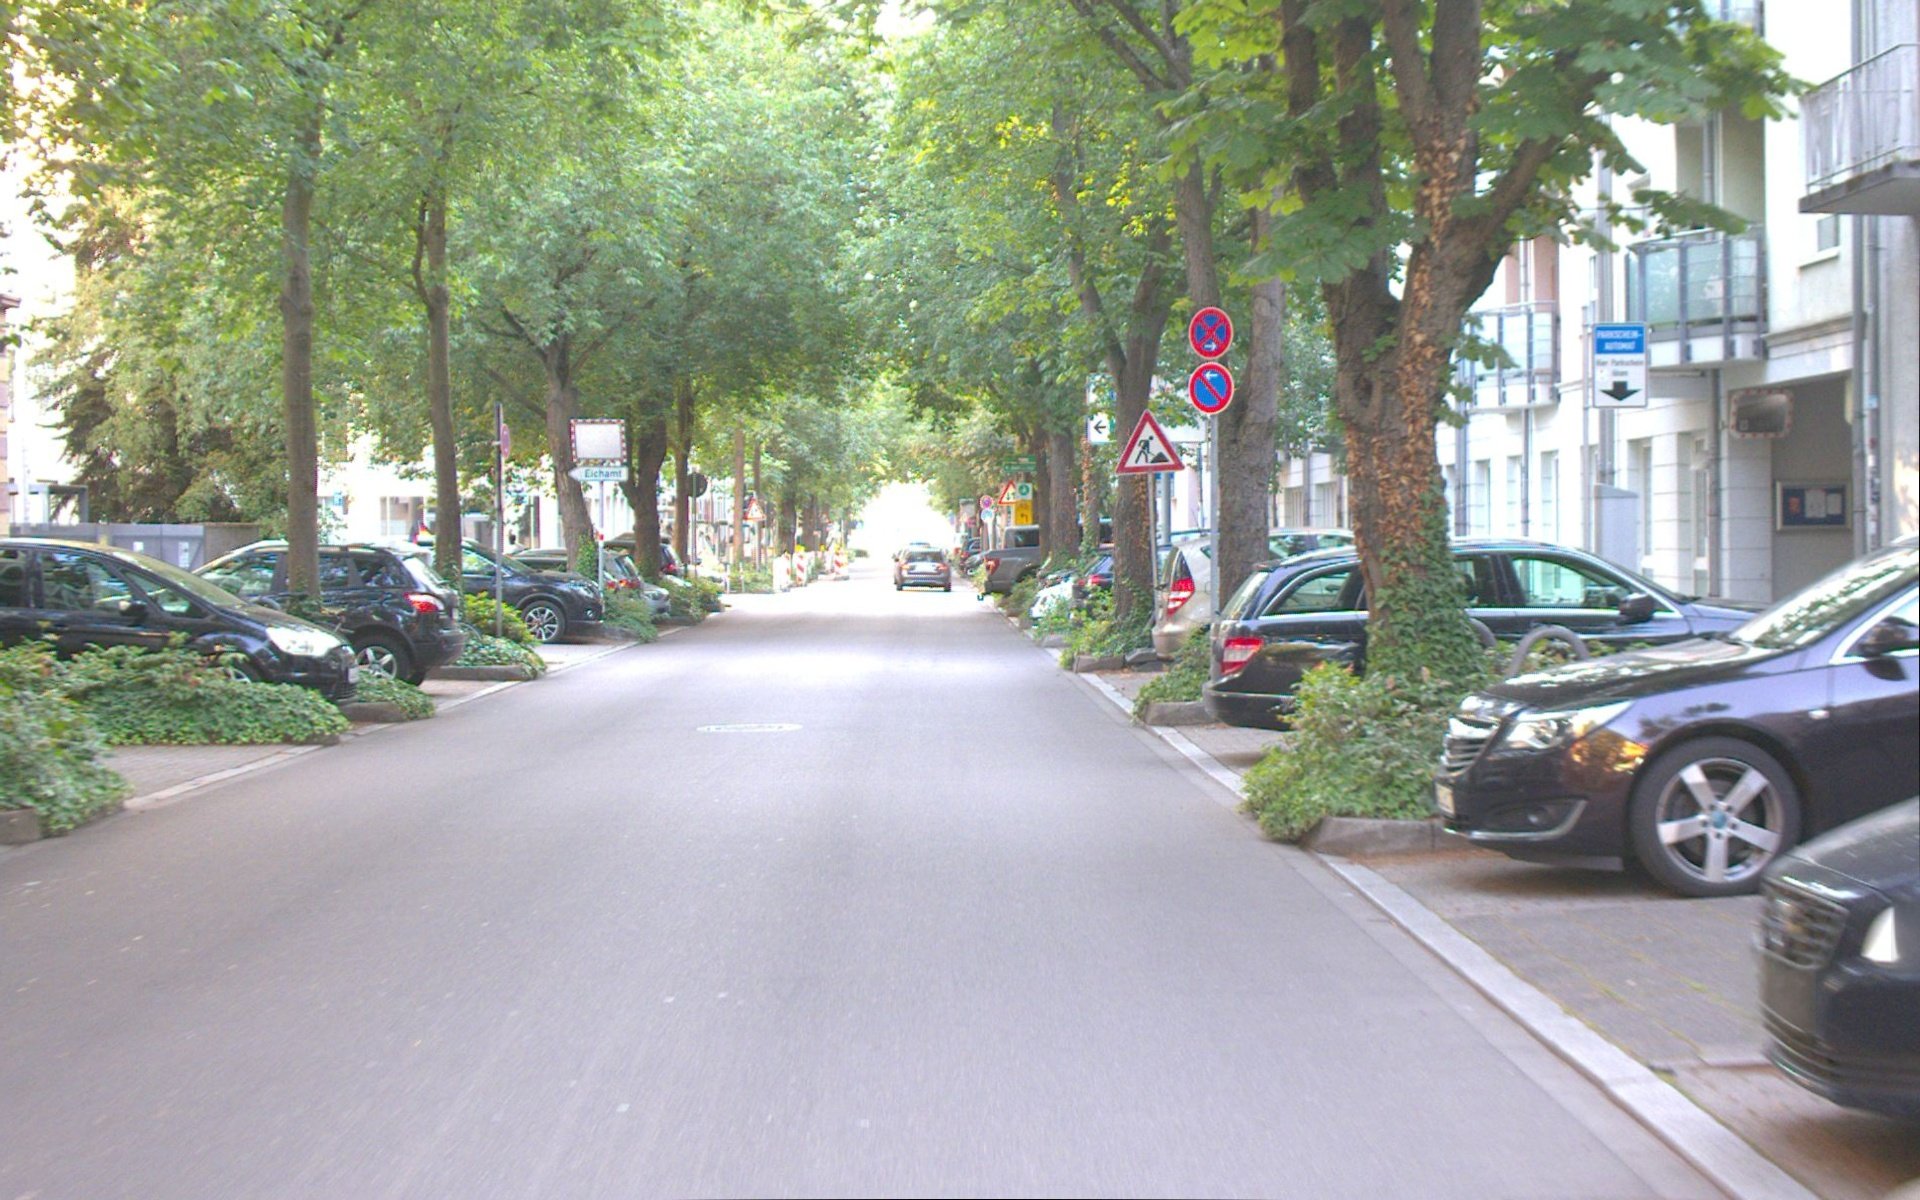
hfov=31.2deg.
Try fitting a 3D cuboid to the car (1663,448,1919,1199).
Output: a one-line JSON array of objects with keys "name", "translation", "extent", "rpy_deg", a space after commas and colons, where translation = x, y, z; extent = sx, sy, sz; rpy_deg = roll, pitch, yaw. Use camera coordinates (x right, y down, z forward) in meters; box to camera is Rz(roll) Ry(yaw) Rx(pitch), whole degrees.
[{"name": "car", "translation": [4.217, 0.501, 8.138], "extent": [4.717, 1.704, 1.950], "rpy_deg": [0, 2, 1]}]

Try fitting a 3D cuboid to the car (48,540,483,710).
[{"name": "car", "translation": [-7.361, 0.240, 36.752], "extent": [4.203, 1.630, 1.963], "rpy_deg": [-2, 1, 0]}]

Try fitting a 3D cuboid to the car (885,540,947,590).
[{"name": "car", "translation": [-1.429, -1.171, 112.892], "extent": [1.956, 1.560, 4.282], "rpy_deg": [-2, 1, 0]}]

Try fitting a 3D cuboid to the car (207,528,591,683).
[{"name": "car", "translation": [-7.193, 0.054, 44.445], "extent": [4.595, 1.801, 1.963], "rpy_deg": [-2, 1, 0]}]

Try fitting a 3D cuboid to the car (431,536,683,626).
[{"name": "car", "translation": [-8.011, -0.390, 68.670], "extent": [4.762, 1.624, 1.963], "rpy_deg": [-2, 1, 0]}]

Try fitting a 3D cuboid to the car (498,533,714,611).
[{"name": "car", "translation": [-8.133, -0.656, 79.300], "extent": [4.762, 1.624, 1.963], "rpy_deg": [-2, 1, 0]}]

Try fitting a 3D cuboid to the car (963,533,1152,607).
[{"name": "car", "translation": [2.242, -0.704, 79.868], "extent": [4.268, 1.560, 1.963], "rpy_deg": [-2, 1, 0]}]

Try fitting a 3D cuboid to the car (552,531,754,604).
[{"name": "car", "translation": [-7.500, -0.805, 84.345], "extent": [4.762, 1.624, 1.963], "rpy_deg": [-2, 1, 0]}]

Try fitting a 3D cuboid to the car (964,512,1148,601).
[{"name": "car", "translation": [2.282, -1.045, 82.457], "extent": [4.268, 1.955, 1.963], "rpy_deg": [-2, 1, 0]}]

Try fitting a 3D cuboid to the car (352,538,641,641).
[{"name": "car", "translation": [-8.078, -0.196, 60.215], "extent": [4.762, 1.624, 1.963], "rpy_deg": [-2, 1, 0]}]

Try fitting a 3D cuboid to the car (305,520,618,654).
[{"name": "car", "translation": [-8.057, -0.224, 55.893], "extent": [4.762, 1.977, 1.963], "rpy_deg": [-2, 1, 0]}]

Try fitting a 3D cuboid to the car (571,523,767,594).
[{"name": "car", "translation": [-7.358, -1.062, 87.221], "extent": [4.762, 1.624, 1.963], "rpy_deg": [-2, 1, 0]}]

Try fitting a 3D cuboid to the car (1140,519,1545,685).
[{"name": "car", "translation": [4.023, 0.006, 36.641], "extent": [4.050, 1.592, 1.825], "rpy_deg": [-2, 1, 0]}]

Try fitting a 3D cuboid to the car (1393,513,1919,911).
[{"name": "car", "translation": [4.338, 0.379, 14.621], "extent": [4.682, 1.516, 1.963], "rpy_deg": [-2, 1, 0]}]

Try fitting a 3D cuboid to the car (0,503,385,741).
[{"name": "car", "translation": [-7.388, 0.196, 29.026], "extent": [4.682, 1.848, 1.963], "rpy_deg": [-2, 1, 0]}]

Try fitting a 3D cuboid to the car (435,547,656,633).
[{"name": "car", "translation": [-7.951, -0.200, 66.195], "extent": [3.987, 1.505, 1.800], "rpy_deg": [-2, 1, 0]}]

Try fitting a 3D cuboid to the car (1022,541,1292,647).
[{"name": "car", "translation": [3.210, -0.112, 56.659], "extent": [4.268, 1.560, 1.963], "rpy_deg": [-2, 1, 0]}]

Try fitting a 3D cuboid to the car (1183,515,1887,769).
[{"name": "car", "translation": [3.821, 0.261, 23.530], "extent": [4.508, 1.516, 1.995], "rpy_deg": [-2, 1, 3]}]

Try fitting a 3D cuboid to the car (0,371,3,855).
[{"name": "car", "translation": [-7.229, 0.080, 16.558], "extent": [4.682, 2.469, 2.000], "rpy_deg": [0, 1, 0]}]
